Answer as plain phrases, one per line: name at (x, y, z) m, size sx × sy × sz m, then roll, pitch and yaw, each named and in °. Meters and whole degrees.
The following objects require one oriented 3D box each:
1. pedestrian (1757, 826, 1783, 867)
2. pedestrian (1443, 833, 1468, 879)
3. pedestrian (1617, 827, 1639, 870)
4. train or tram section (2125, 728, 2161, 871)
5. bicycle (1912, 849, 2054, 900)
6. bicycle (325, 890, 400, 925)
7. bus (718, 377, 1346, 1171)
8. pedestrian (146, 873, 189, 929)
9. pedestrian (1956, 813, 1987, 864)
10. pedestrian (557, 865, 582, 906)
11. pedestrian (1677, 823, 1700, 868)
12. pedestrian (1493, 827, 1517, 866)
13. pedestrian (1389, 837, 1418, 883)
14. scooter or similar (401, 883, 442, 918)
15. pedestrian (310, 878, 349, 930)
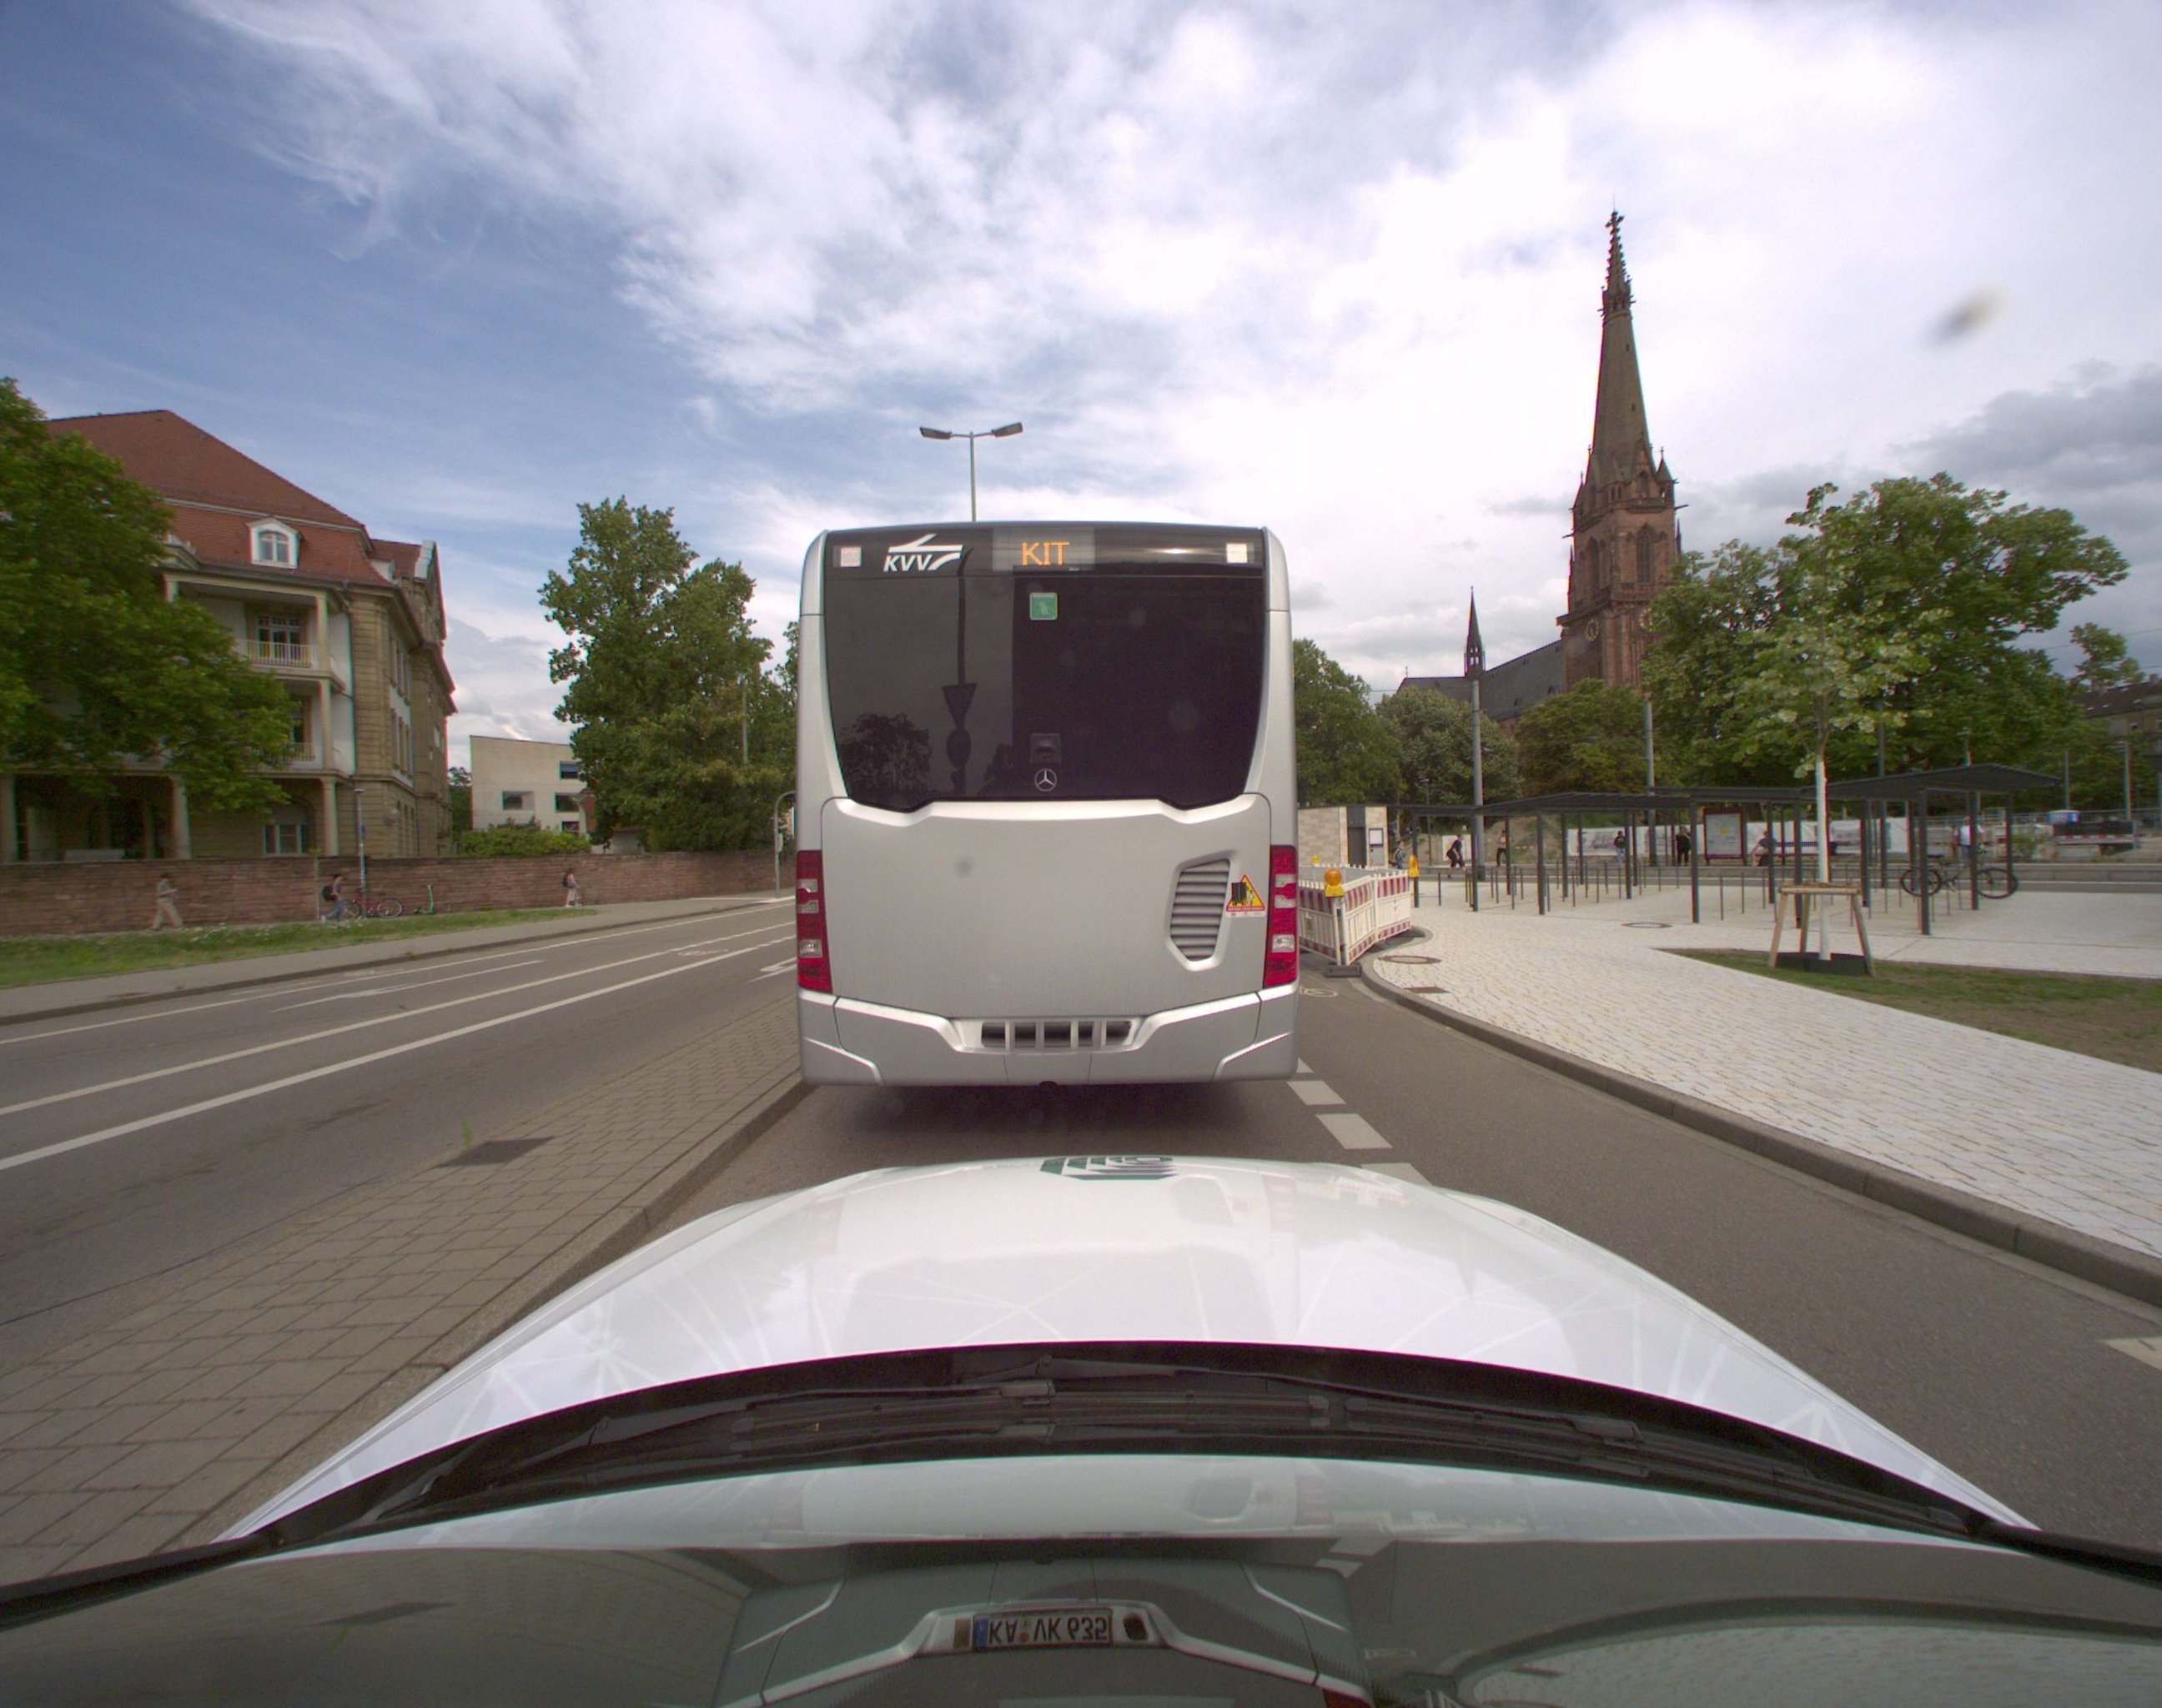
pedestrian at (26.070, -0.287, 30.802) m, size 0.694 × 1.485 × 0.670 m, roll -4°, pitch 3°, yaw -42°
pedestrian at (13.725, 0.076, 29.834) m, size 0.534 × 1.654 × 0.623 m, roll -3°, pitch 3°, yaw -36°
pedestrian at (23.208, -0.236, 34.564) m, size 0.526 × 1.800 × 0.670 m, roll -4°, pitch 3°, yaw -42°
train or tram section at (28.371, -1.235, 16.151) m, size 3.076 × 3.276 × 9.270 m, roll -3°, pitch 3°, yaw -35°
bicycle at (18.735, 0.392, 16.964) m, size 0.587 × 0.955 × 1.944 m, roll -3°, pitch 3°, yaw -38°
bicycle at (-25.711, 1.892, 29.172) m, size 1.937 × 1.005 × 0.770 m, roll -4°, pitch 3°, yaw -42°
bus at (0.010, -0.313, 10.687) m, size 2.694 × 3.438 × 14.189 m, roll -1°, pitch 0°, yaw 2°
pedestrian at (-28.726, 1.458, 25.610) m, size 0.570 × 1.654 × 0.787 m, roll 0°, pitch 3°, yaw 38°
pedestrian at (29.664, -0.529, 27.135) m, size 0.714 × 1.677 × 0.670 m, roll -4°, pitch 3°, yaw -42°
pedestrian at (-21.414, 1.327, 34.105) m, size 0.525 × 1.654 × 0.634 m, roll 0°, pitch 3°, yaw 32°
pedestrian at (24.483, -0.345, 32.821) m, size 0.526 × 1.800 × 0.670 m, roll -4°, pitch 3°, yaw -42°
pedestrian at (20.305, -0.367, 38.995) m, size 0.816 × 1.800 × 0.755 m, roll -1°, pitch 2°, yaw 11°
pedestrian at (11.629, 0.207, 29.383) m, size 0.541 × 1.603 × 0.789 m, roll -3°, pitch 3°, yaw -36°
scooter or similar at (-24.539, 1.716, 30.327) m, size 0.519 × 1.139 × 1.513 m, roll -2°, pitch 3°, yaw -13°
pedestrian at (-25.327, 1.658, 27.454) m, size 0.570 × 1.654 × 0.787 m, roll 0°, pitch 3°, yaw 33°
